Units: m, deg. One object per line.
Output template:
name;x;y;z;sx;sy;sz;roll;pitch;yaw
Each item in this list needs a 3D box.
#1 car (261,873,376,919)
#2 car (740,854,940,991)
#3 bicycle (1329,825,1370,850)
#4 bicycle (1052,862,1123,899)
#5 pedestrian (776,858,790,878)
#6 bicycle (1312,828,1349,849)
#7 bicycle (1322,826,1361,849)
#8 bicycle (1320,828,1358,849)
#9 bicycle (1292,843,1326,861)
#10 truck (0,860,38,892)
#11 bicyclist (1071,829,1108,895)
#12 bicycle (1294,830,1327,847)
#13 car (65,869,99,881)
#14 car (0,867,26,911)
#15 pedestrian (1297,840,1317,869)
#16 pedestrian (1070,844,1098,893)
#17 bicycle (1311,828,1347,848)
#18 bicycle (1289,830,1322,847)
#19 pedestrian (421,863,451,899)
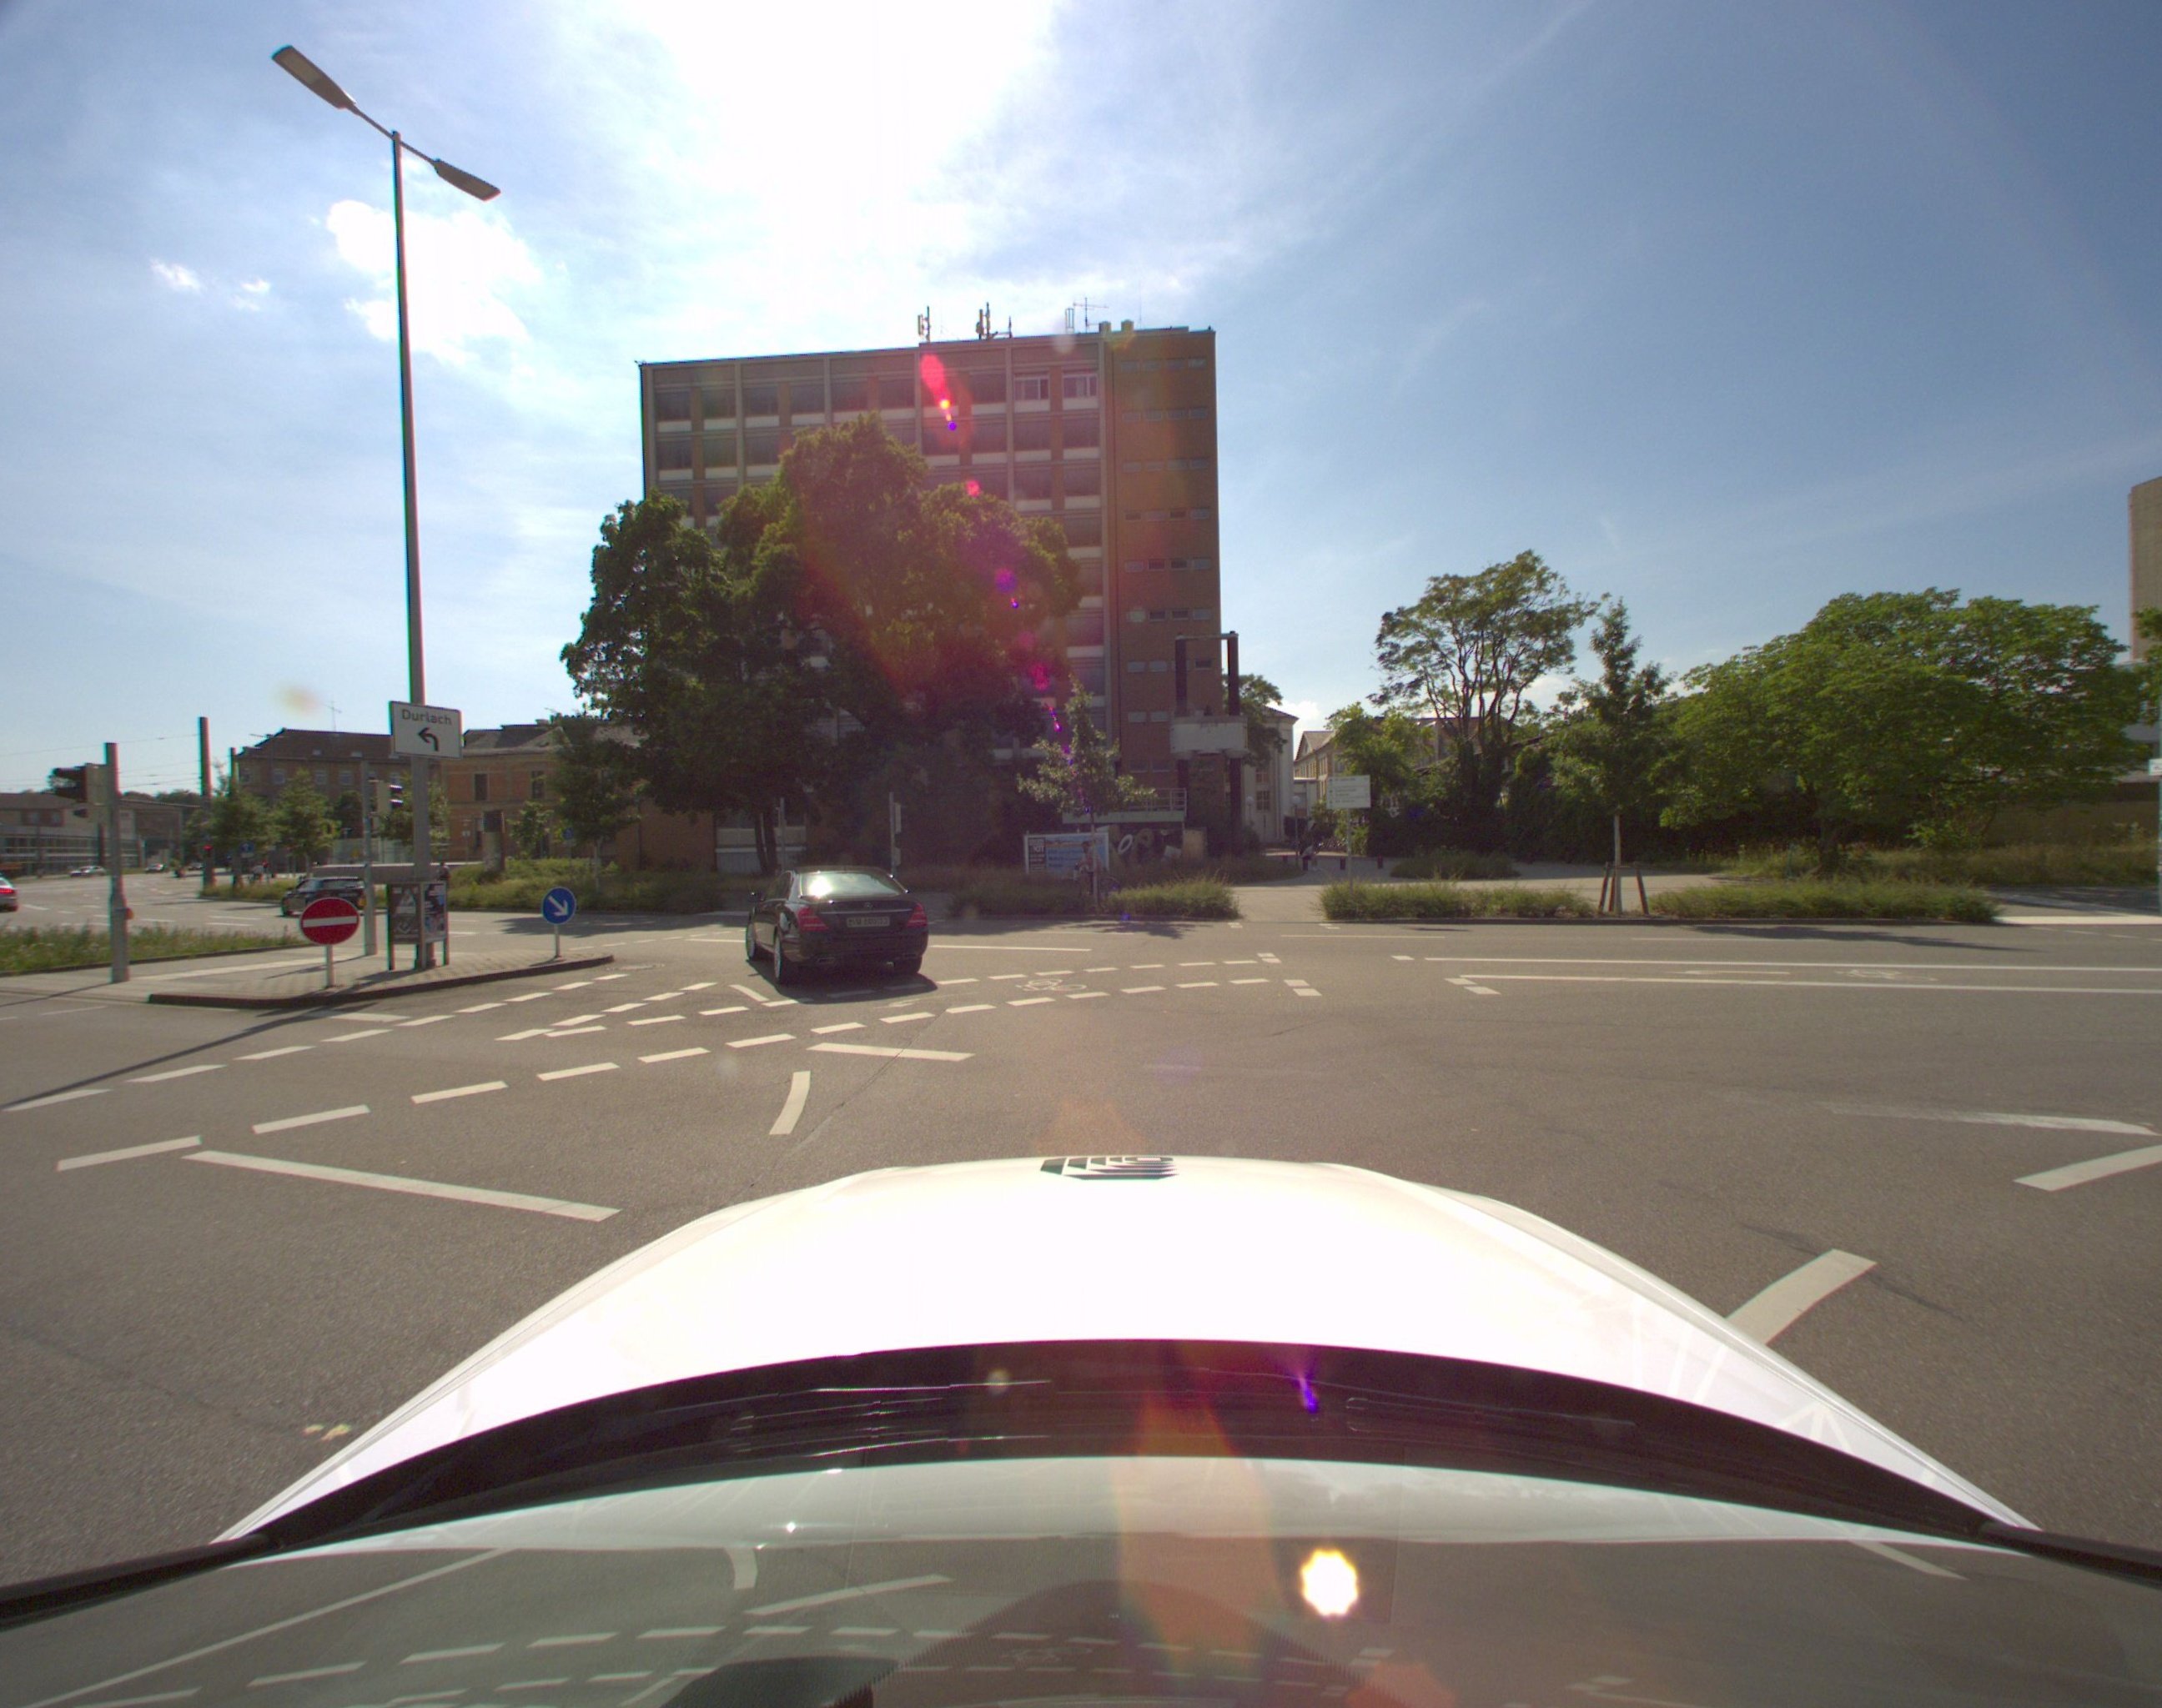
car;-27.473;1.487;29.332;3.949;1.510;1.811;-1;-1;27
car;-3.746;0.834;11.987;1.870;1.530;4.670;-3;0;-28
bicycle;20.544;-1.255;62.263;2.809;1.836;0.843;-2;1;4
bicycle;0.205;0.779;24.011;1.939;0.946;0.697;-3;1;12
pedestrian;-13.647;0.657;37.262;0.425;0.892;0.395;-1;0;15
bicycle;20.539;-1.298;67.010;2.809;1.659;0.843;-2;2;4
bicycle;20.633;-1.282;64.527;2.809;1.744;0.843;-2;1;4
bicycle;20.851;-1.262;65.937;2.809;1.649;0.843;-2;1;4
bicycle;20.546;-0.210;73.406;2.809;1.559;0.843;-2;1;4
truck;-128.802;2.681;95.980;3.070;3.730;7.888;-1;0;-15
bicyclist;0.258;0.225;23.985;0.851;1.878;0.690;-3;1;12
bicycle;21.251;-1.408;75.296;2.809;1.500;0.843;-2;1;4
car;-136.810;2.855;111.558;1.808;1.510;3.957;-1;0;-35
car;-46.430;1.493;34.133;3.949;1.815;2.012;-1;0;28
pedestrian;9.814;0.019;35.414;0.788;1.213;0.760;1;1;12
pedestrian;0.093;0.462;26.908;0.807;1.579;0.694;-1;0;7
bicycle;20.717;-1.328;68.067;2.809;1.587;0.843;-2;1;4
bicycle;21.245;-1.468;77.136;2.809;1.480;0.843;-2;1;4
pedestrian;-31.678;1.310;39.977;0.790;1.725;0.879;-1;0;28
